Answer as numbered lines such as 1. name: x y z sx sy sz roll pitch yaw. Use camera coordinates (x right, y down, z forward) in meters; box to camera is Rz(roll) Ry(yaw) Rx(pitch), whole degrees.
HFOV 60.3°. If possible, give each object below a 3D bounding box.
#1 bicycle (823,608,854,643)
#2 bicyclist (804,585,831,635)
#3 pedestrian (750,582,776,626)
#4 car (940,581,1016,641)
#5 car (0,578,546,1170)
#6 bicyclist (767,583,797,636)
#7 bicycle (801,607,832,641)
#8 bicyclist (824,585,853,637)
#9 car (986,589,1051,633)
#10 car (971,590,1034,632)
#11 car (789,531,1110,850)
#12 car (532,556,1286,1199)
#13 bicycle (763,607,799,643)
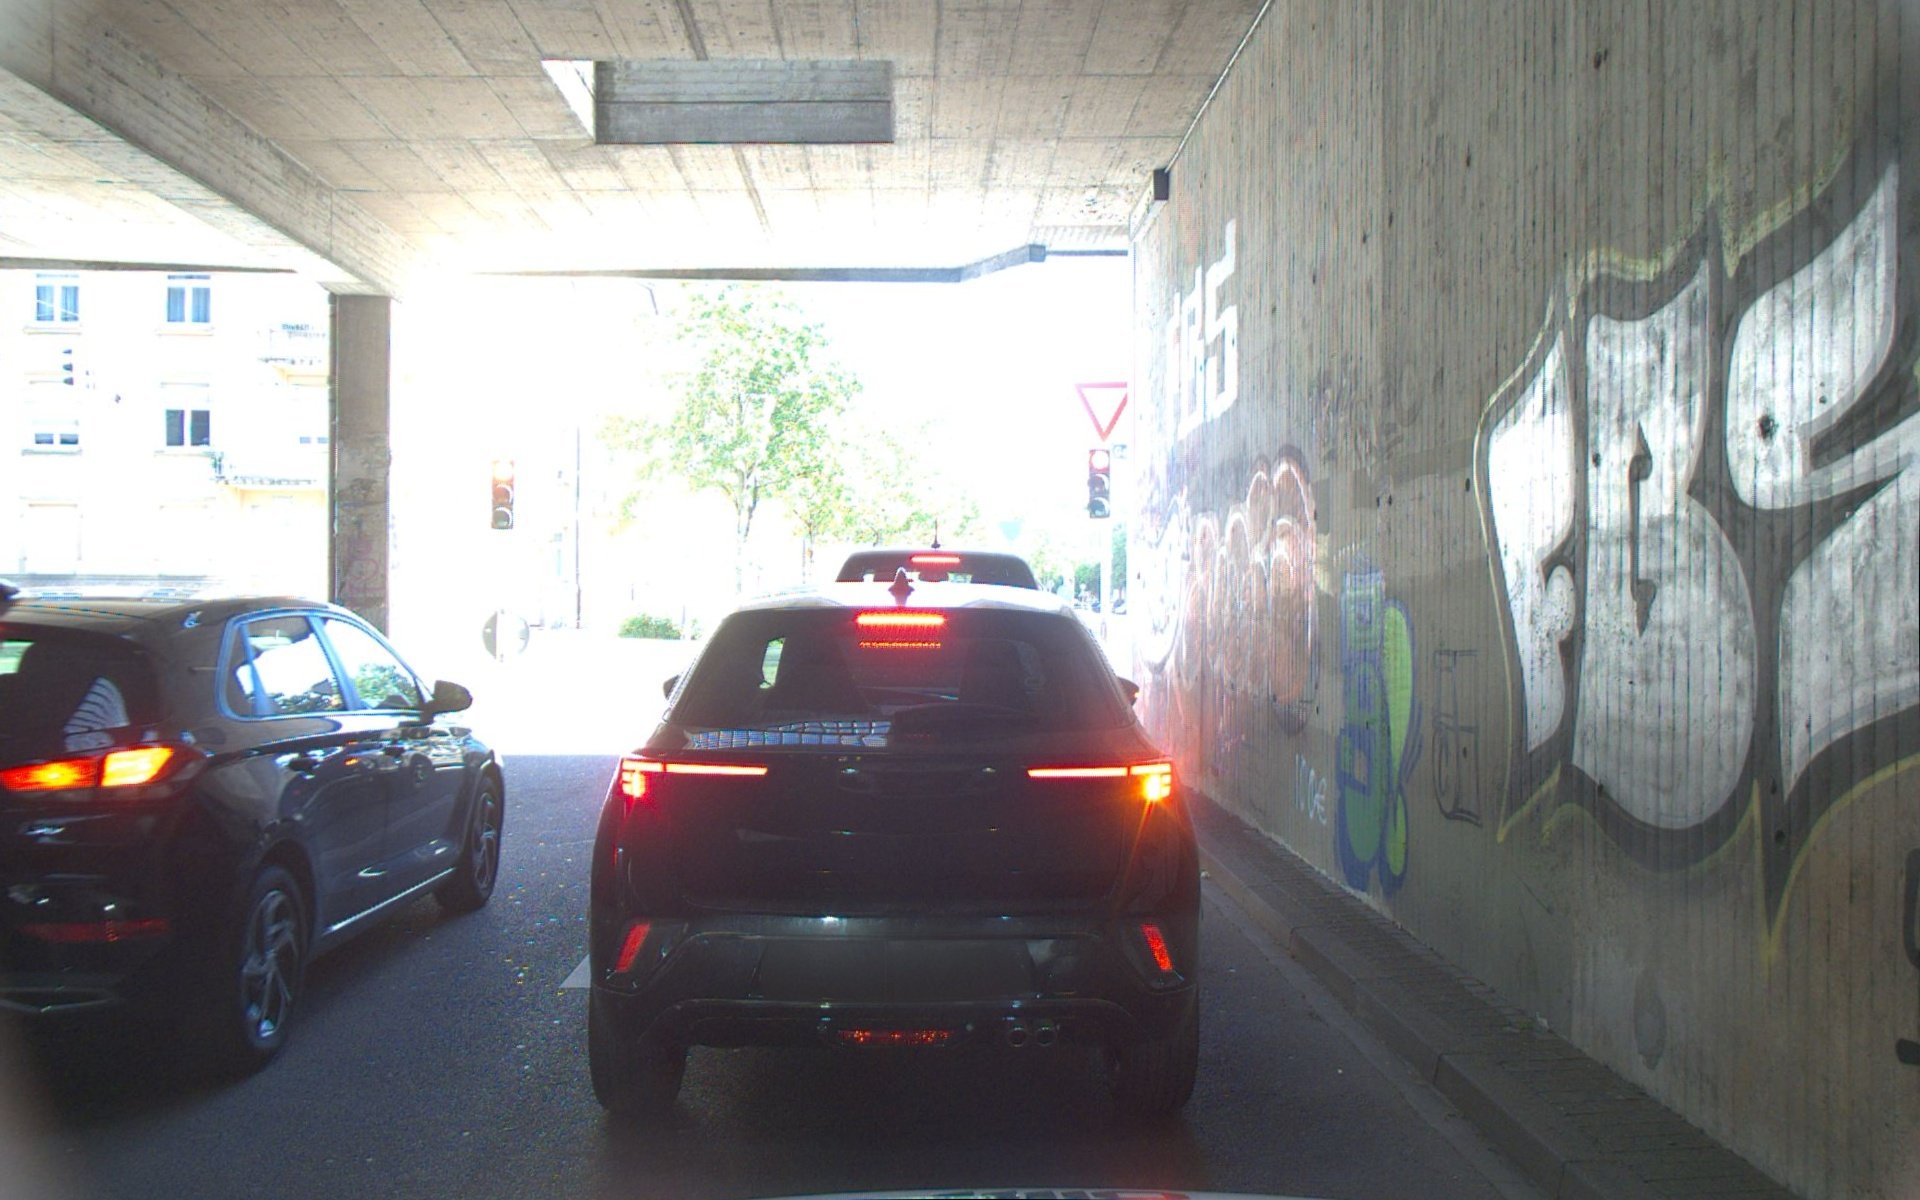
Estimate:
1. bicycle: -3.818 0.799 52.033 0.612 1.086 1.690 1 0 9
2. bicyclist: -4.698 0.329 54.517 0.713 1.609 0.815 1 -1 9
3. pedestrian: -9.243 0.194 77.741 0.971 2.049 1.089 0 0 7
4. car: 0.499 0.330 44.164 1.927 1.523 3.896 0 -1 1
5. car: -2.915 0.677 6.254 1.744 1.472 4.177 2 0 -2
6. bicyclist: -5.536 0.302 51.440 0.713 1.609 0.815 1 -1 9
7. bicycle: -4.716 0.780 54.477 0.612 1.086 1.690 1 0 9
8. bicyclist: -3.812 0.333 52.037 0.713 1.609 0.815 1 -1 9
9. car: 2.467 0.474 69.023 2.173 1.749 4.463 0 -1 9
10. car: 1.623 0.433 62.201 1.926 1.523 3.899 0 -1 8
11. car: -0.090 0.531 11.870 1.906 1.892 3.963 0 0 -1
12. car: -0.149 0.670 6.045 1.844 1.565 3.963 0 0 -1
13. bicycle: -5.555 0.767 51.407 0.716 1.086 1.690 1 0 9
